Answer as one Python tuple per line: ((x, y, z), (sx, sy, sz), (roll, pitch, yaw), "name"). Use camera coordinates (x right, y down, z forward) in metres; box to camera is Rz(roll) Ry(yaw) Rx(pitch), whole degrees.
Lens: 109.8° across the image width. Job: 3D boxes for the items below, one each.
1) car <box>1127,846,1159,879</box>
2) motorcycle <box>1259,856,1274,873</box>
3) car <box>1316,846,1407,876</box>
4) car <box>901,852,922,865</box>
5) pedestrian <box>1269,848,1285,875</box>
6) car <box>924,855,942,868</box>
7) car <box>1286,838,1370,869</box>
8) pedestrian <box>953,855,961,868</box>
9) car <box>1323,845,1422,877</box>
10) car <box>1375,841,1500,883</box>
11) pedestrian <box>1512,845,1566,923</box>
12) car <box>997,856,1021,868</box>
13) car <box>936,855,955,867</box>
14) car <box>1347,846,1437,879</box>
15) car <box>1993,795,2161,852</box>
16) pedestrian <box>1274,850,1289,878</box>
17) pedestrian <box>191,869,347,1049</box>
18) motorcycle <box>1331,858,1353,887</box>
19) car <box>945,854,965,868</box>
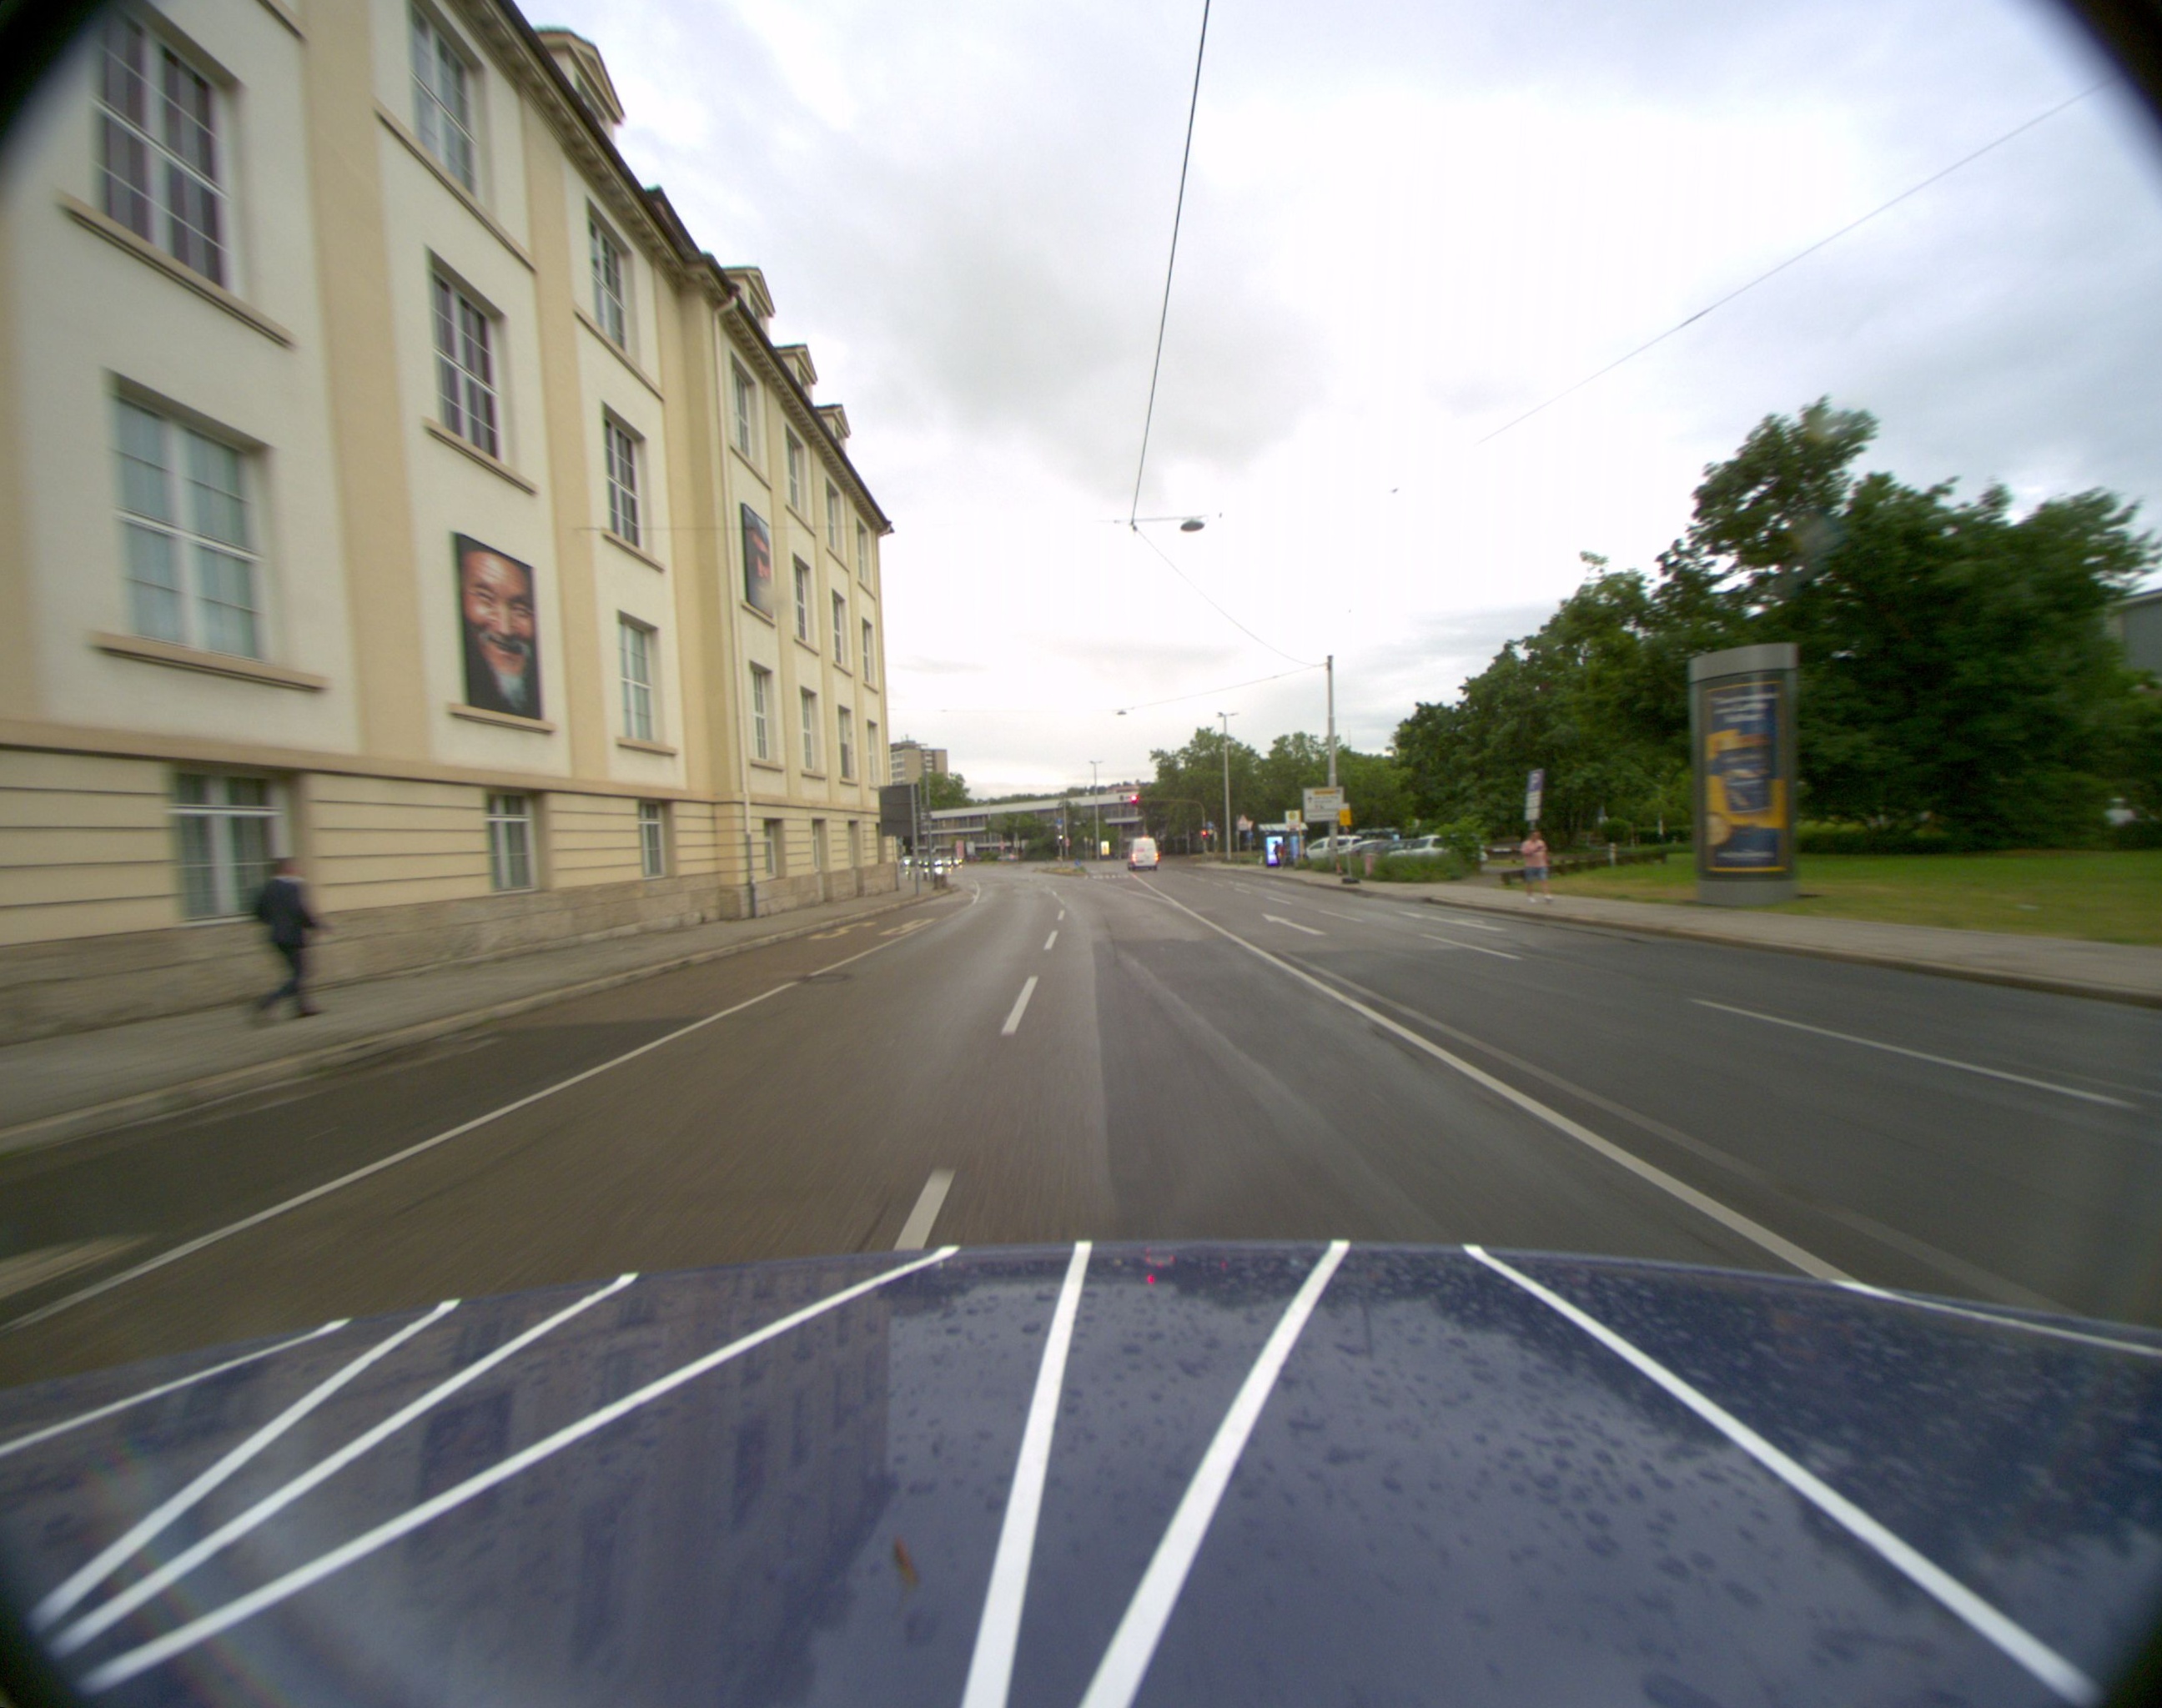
((5.092, 0.693, 63.266), (1.988, 2.514, 5.631), (-2, 0, -1), "car")
((13.883, 0.785, 57.008), (0.516, 1.240, 1.266), (-4, 1, -13), "motorcycle")
((15.508, 0.397, 42.099), (4.369, 1.341, 1.908), (-4, 1, 31), "car")
((-27.644, 0.763, 123.593), (2.080, 1.900, 4.552), (-2, 0, -30), "car")
((12.337, 0.456, 47.890), (0.685, 1.686, 0.672), (-4, 1, -7), "pedestrian")
((-21.572, 1.100, 110.668), (1.886, 1.857, 4.340), (-2, 0, -20), "car")
((16.114, -0.026, 49.682), (4.711, 1.745, 2.020), (-3, 1, 43), "car")
((-16.801, 0.999, 102.906), (0.903, 1.786, 0.541), (-4, 1, -4), "pedestrian")
((15.135, 0.370, 39.473), (4.573, 1.341, 1.907), (-4, 1, 26), "car")
((15.252, 0.367, 32.776), (1.871, 1.600, 4.516), (-5, 1, -33), "car")
((10.382, 0.667, 17.236), (0.671, 1.677, 0.914), (-4, 1, 8), "pedestrian")
((-12.614, 1.385, 132.318), (2.081, 1.900, 4.336), (-2, 0, -39), "car")
((-20.897, 1.058, 116.798), (2.079, 1.816, 4.555), (-2, 0, -20), "car")
((15.027, 0.425, 36.807), (3.588, 1.341, 1.846), (-3, 1, 39), "car")
((57.182, -1.710, 43.529), (6.206, 2.745, 2.740), (-4, 1, 5), "car")
((12.450, 0.598, 47.138), (0.629, 1.686, 0.642), (-4, 1, -7), "pedestrian")
((-8.644, 1.075, 8.128), (0.671, 1.787, 0.852), (-2, 1, 3), "pedestrian")
((11.946, 0.853, 34.791), (0.516, 1.240, 1.267), (-4, 1, 2), "motorcycle")
((-18.457, 1.016, 111.186), (2.079, 1.900, 4.555), (-2, 0, -20), "car")
